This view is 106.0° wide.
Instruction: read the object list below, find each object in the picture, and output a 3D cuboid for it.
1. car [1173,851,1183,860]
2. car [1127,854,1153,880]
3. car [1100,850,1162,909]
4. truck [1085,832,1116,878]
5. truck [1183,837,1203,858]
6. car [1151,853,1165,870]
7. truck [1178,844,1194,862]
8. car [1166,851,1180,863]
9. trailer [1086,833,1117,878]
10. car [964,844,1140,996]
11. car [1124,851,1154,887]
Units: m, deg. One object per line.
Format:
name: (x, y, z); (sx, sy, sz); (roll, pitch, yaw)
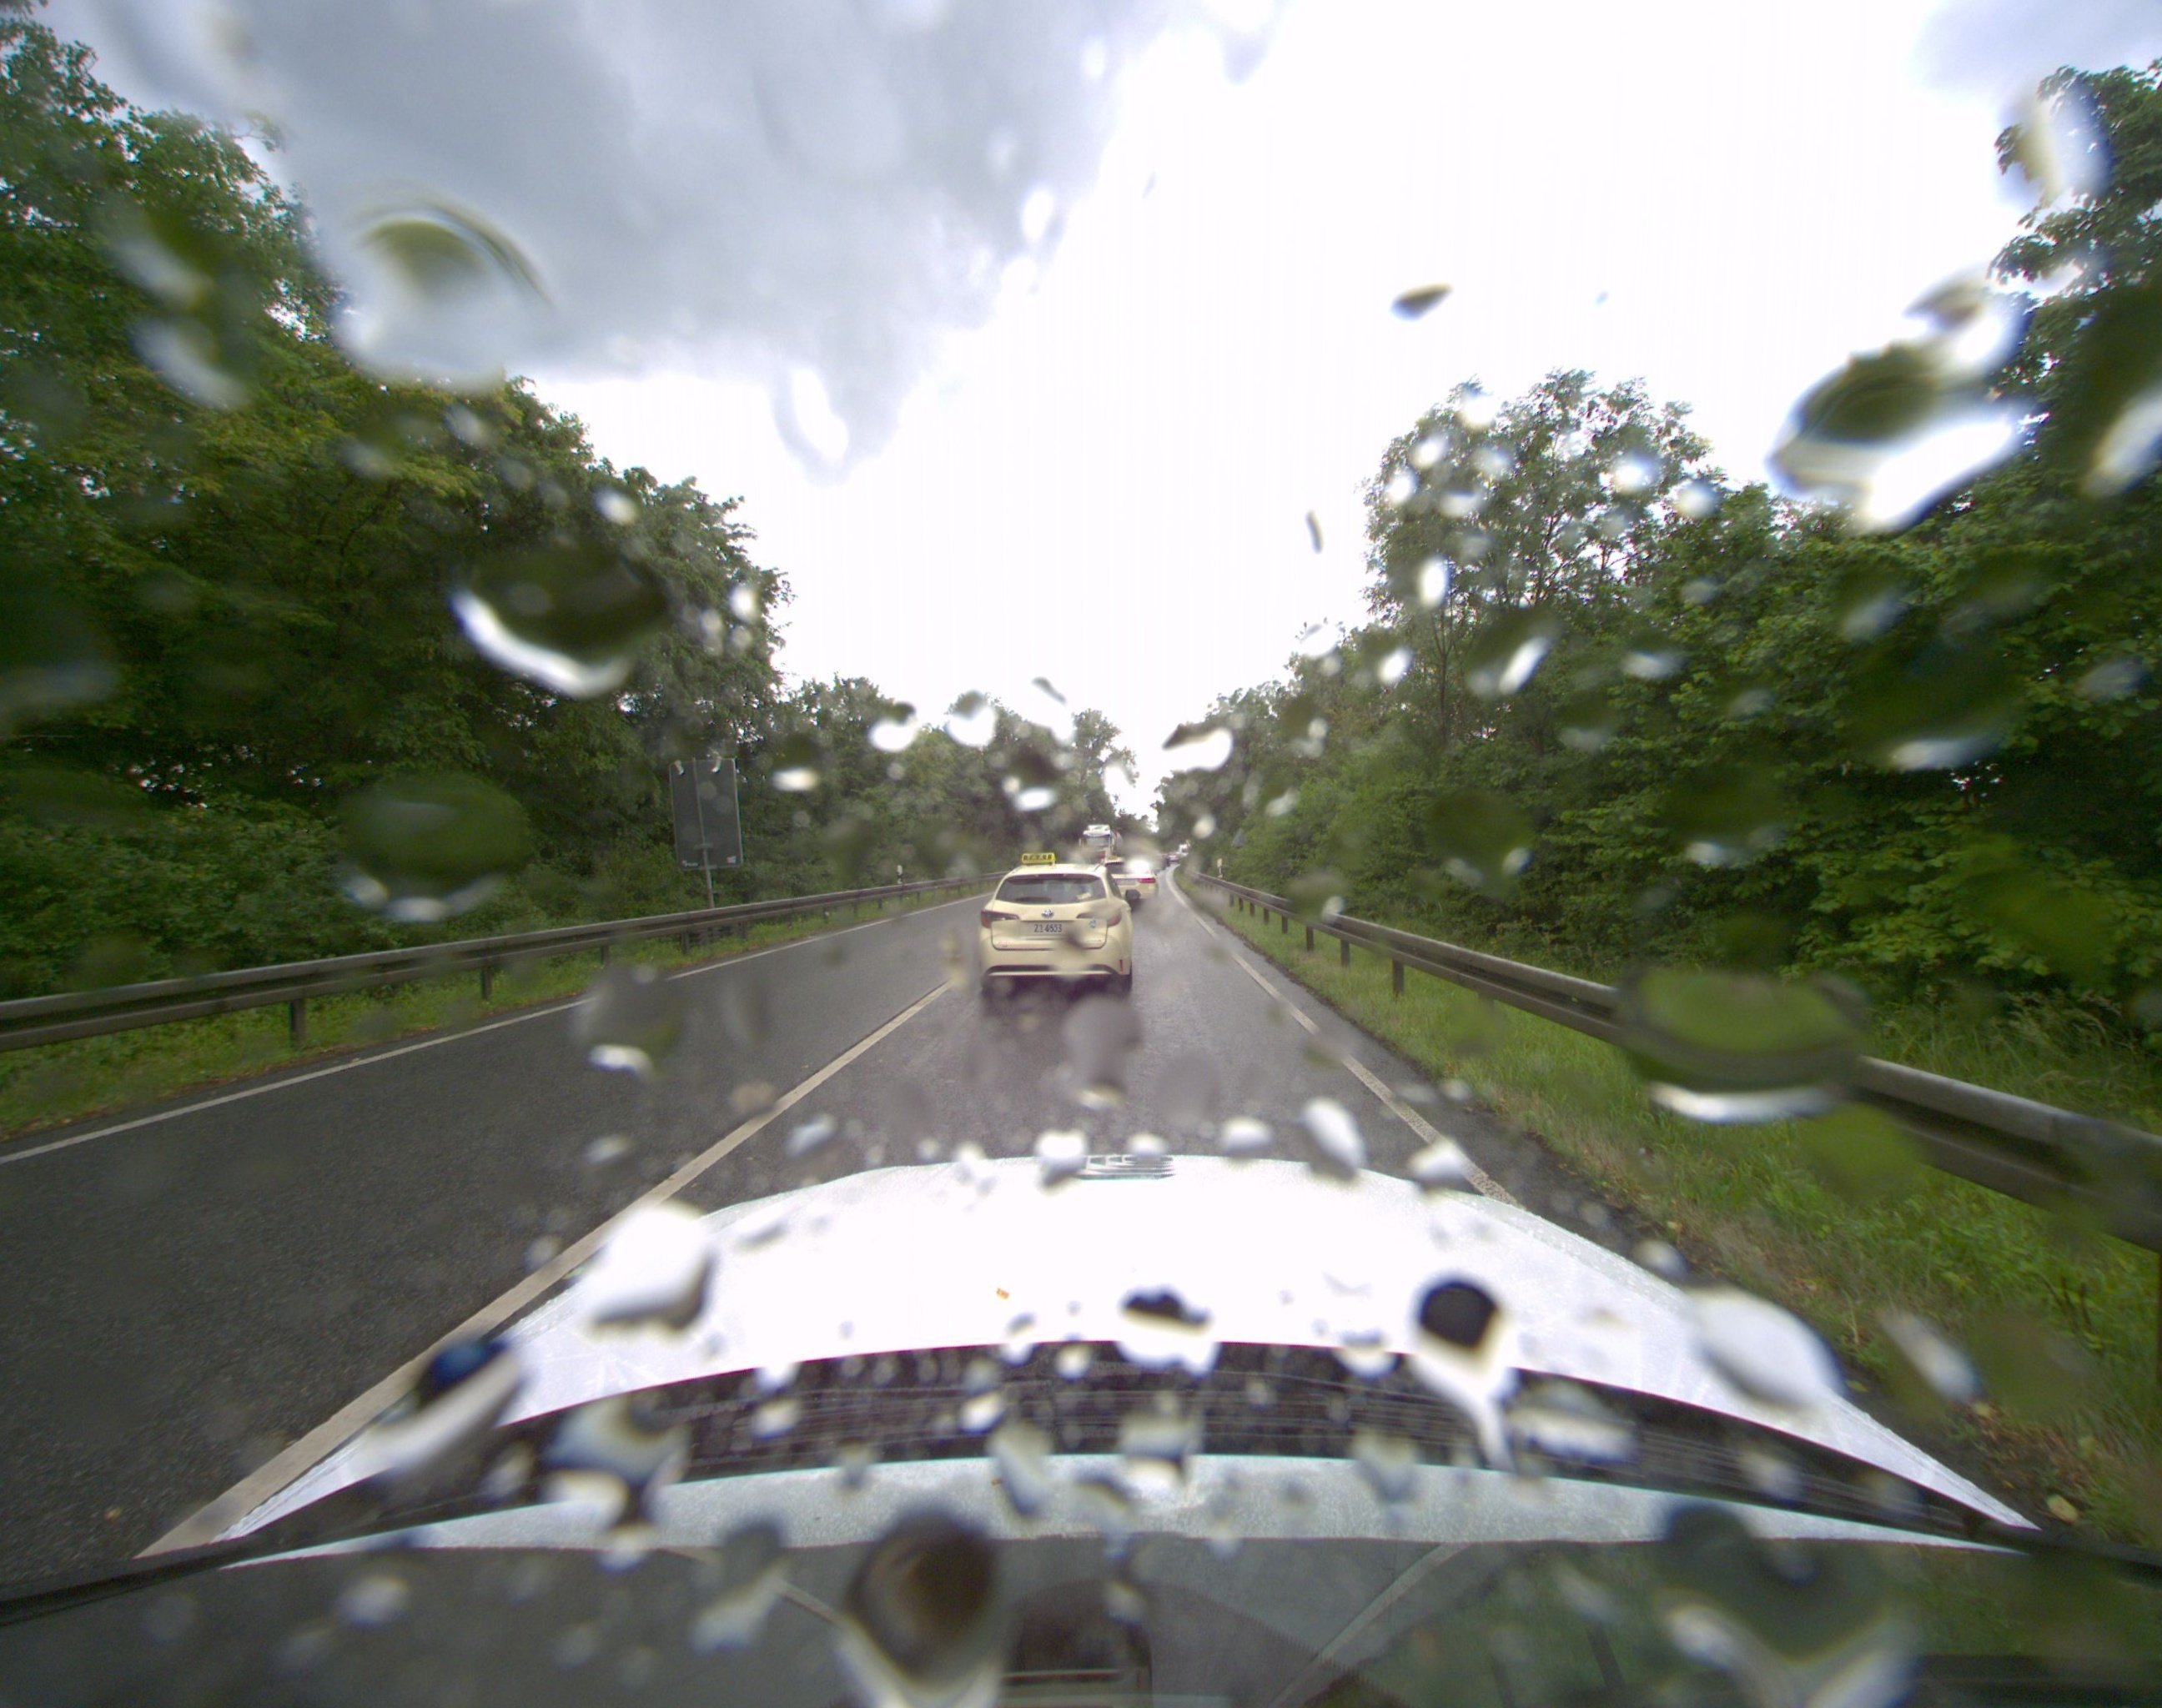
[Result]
car: (21.049, 0.343, 176.719); (1.572, 2.014, 3.777); (-1, -1, 15)
car: (3.776, 0.796, 51.707); (1.603, 1.547, 3.819); (-1, 0, 5)
car: (1.466, 0.700, 23.775); (1.660, 1.580, 3.896); (0, -1, 4)
truck: (1.706, 0.110, 69.256); (2.526, 3.825, 5.248); (0, -1, 3)
truck: (20.992, -1.201, 152.085); (3.086, 3.680, 7.023); (-1, -1, 12)
car: (7.071, 0.716, 74.708); (1.161, 1.547, 2.609); (0, -1, 7)
truck: (16.992, -0.129, 132.366); (2.536, 2.713, 7.549); (0, -1, 7)
car: (12.460, 0.452, 109.831); (1.759, 1.547, 3.822); (0, -1, 8)
trailer: (1.966, 0.167, 74.633); (2.525, 3.825, 7.798); (0, -1, 3)
car: (-0.223, 0.713, 10.573); (1.826, 1.580, 4.159); (0, -1, 2)
car: (2.652, 0.686, 37.209); (1.295, 1.547, 3.263); (0, -1, 4)
